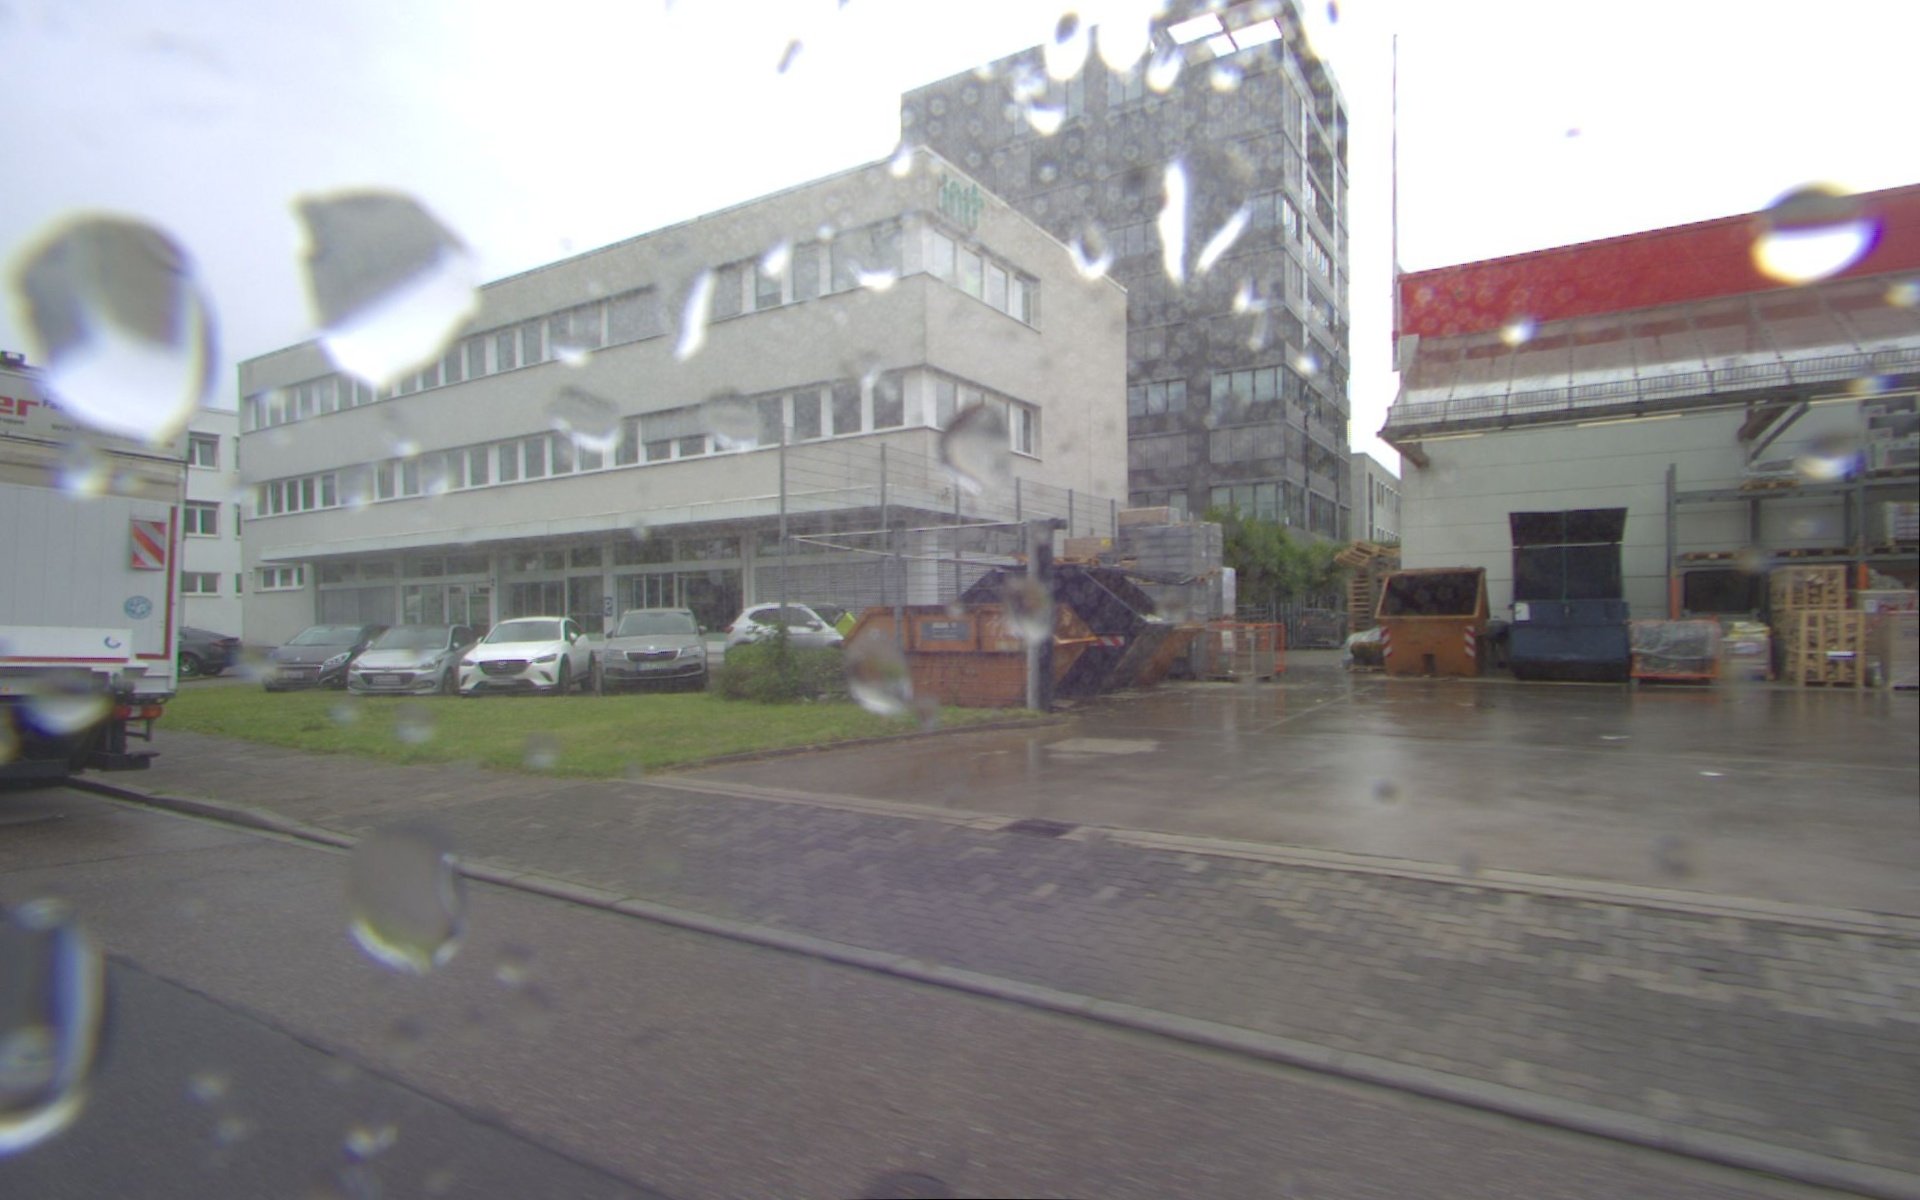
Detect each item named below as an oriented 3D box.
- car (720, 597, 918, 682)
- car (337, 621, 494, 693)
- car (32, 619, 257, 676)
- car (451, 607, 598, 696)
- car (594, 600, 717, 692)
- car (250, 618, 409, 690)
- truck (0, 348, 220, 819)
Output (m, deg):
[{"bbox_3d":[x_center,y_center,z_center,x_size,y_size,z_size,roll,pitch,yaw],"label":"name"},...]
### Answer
[{"bbox_3d":[-3.184,0.858,22.418,4.084,1.728,1.989,-1,-1,32],"label":"car"},{"bbox_3d":[-10.999,1.089,20.533,1.675,1.303,3.997,0,-1,-11],"label":"car"},{"bbox_3d":[-23.093,1.320,28.575,4.595,1.487,1.787,0,-1,-19],"label":"car"},{"bbox_3d":[-8.157,0.909,19.133,1.742,1.489,3.997,0,-1,-11],"label":"car"},{"bbox_3d":[-5.659,0.808,19.042,1.838,1.547,3.997,0,-1,-12],"label":"car"},{"bbox_3d":[-13.590,1.100,21.827,1.675,1.411,3.765,0,-1,-11],"label":"car"},{"bbox_3d":[-11.577,-0.048,10.834,9.171,3.836,2.736,-1,-3,34],"label":"truck"}]
